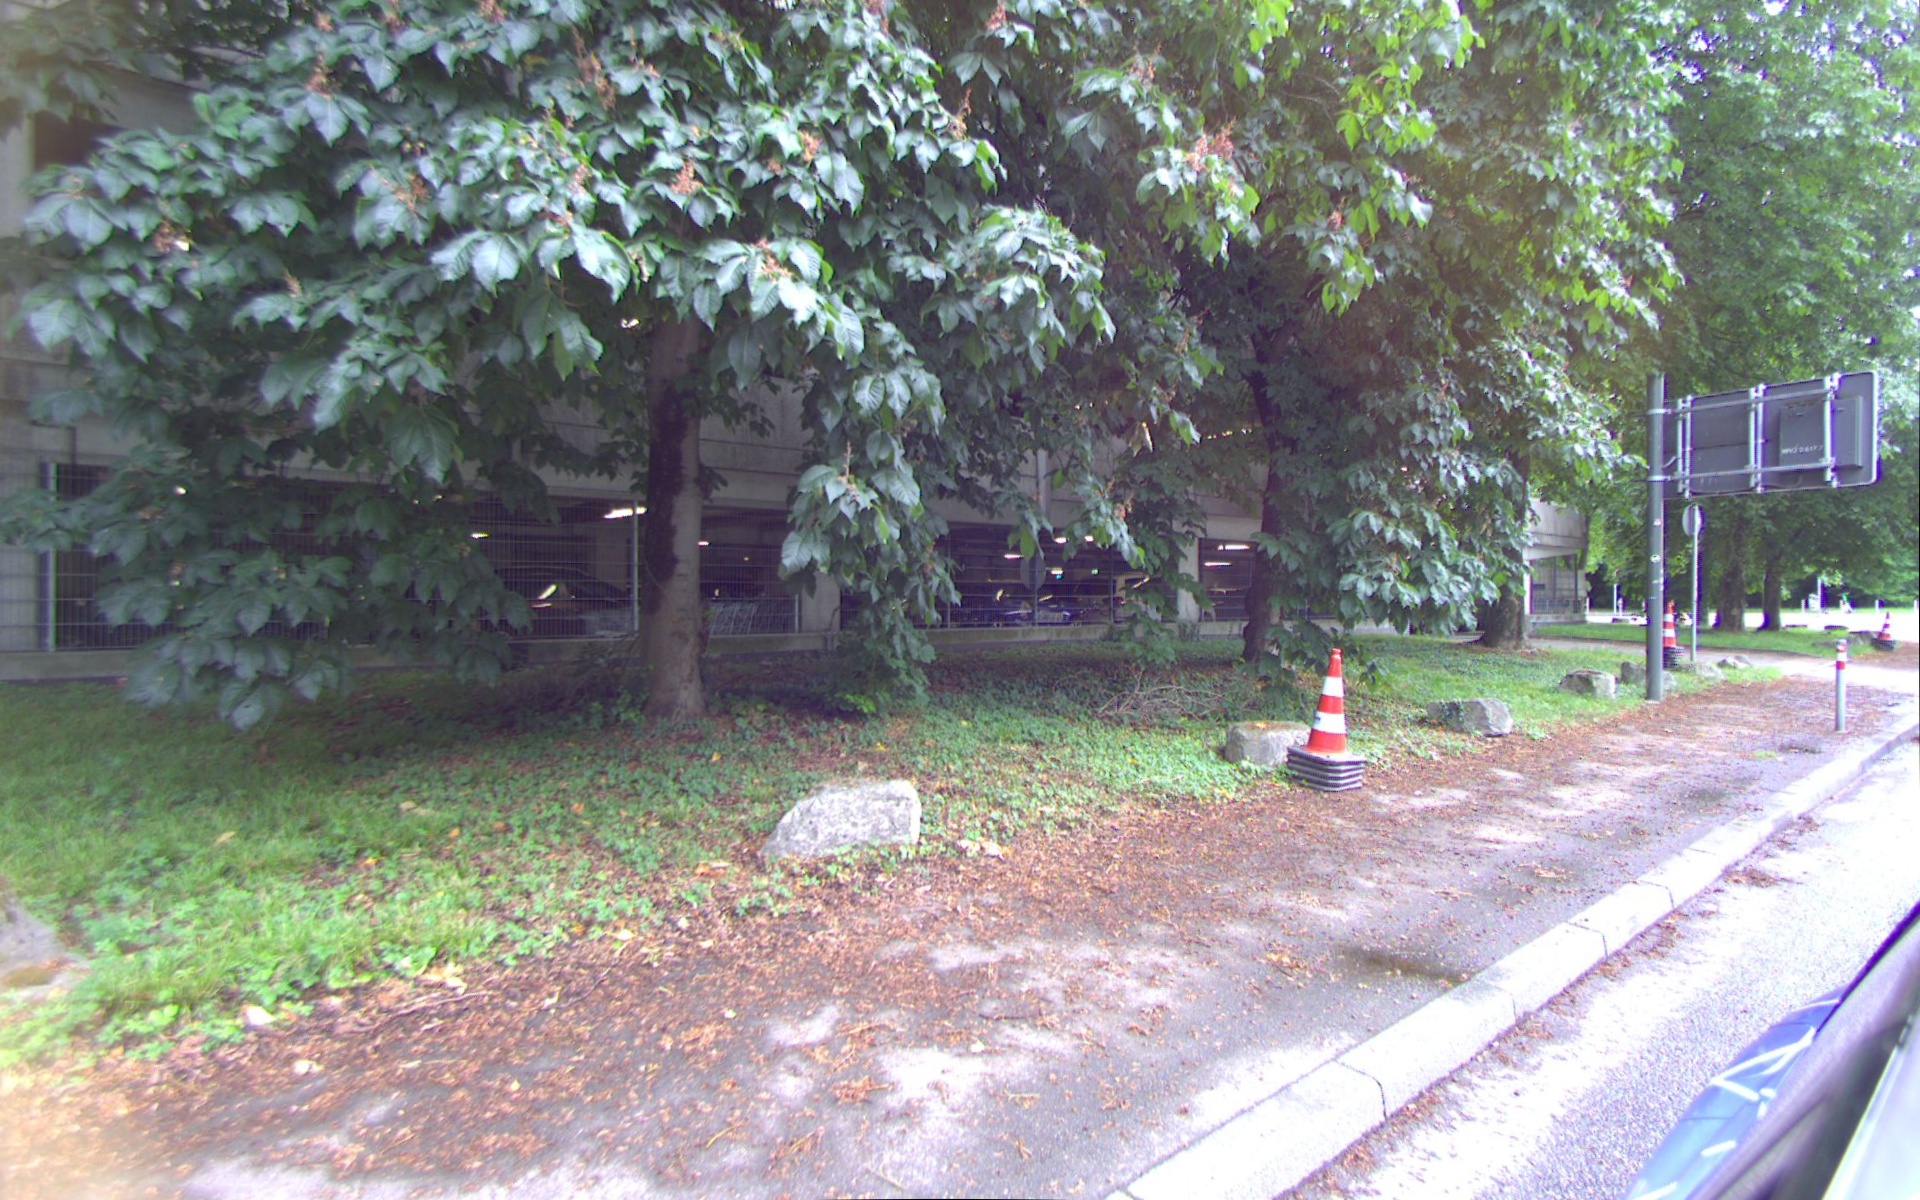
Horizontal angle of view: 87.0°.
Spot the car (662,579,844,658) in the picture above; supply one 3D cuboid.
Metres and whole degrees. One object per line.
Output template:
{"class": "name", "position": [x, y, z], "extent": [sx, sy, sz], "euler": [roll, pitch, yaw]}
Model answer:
{"class": "car", "position": [-4.590, 0.367, 22.705], "extent": [3.639, 1.565, 1.718], "euler": [-2, 1, -42]}

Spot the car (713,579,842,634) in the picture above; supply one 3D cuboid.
{"class": "car", "position": [-5.718, 0.182, 31.865], "extent": [3.638, 1.565, 1.719], "euler": [-2, 0, -41]}

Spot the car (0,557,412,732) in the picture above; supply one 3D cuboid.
{"class": "car", "position": [-10.333, 0.475, 13.901], "extent": [4.594, 2.039, 1.996], "euler": [-2, 0, -41]}

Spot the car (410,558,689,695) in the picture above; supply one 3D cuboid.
{"class": "car", "position": [-6.873, 0.348, 17.087], "extent": [3.929, 2.039, 1.997], "euler": [-2, 0, -40]}

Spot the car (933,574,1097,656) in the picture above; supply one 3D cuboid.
{"class": "car", "position": [1.351, 0.300, 23.812], "extent": [3.791, 1.730, 1.588], "euler": [-2, 0, -41]}

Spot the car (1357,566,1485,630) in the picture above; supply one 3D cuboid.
{"class": "car", "position": [14.542, -0.073, 31.813], "extent": [4.653, 1.858, 1.922], "euler": [-1, 0, -41]}

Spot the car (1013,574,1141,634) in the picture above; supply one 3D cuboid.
{"class": "car", "position": [3.447, 0.090, 29.420], "extent": [3.629, 1.606, 1.718], "euler": [-2, 1, -42]}

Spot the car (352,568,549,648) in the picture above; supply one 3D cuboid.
{"class": "car", "position": [-11.446, 0.141, 22.851], "extent": [3.639, 1.627, 1.718], "euler": [-2, 1, -42]}

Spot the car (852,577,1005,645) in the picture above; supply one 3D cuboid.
{"class": "car", "position": [-0.763, 0.232, 25.805], "extent": [3.639, 1.565, 1.718], "euler": [-2, 1, -42]}

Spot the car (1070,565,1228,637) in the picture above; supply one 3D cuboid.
{"class": "car", "position": [5.074, -0.021, 26.825], "extent": [4.587, 1.730, 1.588], "euler": [-2, 0, -41]}

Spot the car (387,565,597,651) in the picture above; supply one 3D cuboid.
{"class": "car", "position": [-9.757, 0.112, 21.207], "extent": [3.639, 1.627, 1.718], "euler": [-2, 1, -42]}

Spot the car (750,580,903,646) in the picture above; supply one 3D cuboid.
{"class": "car", "position": [-3.451, 0.297, 26.548], "extent": [3.639, 1.565, 1.718], "euler": [-2, 1, -42]}

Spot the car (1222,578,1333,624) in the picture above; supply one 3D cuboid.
{"class": "car", "position": [11.360, 0.018, 36.151], "extent": [3.927, 1.471, 1.876], "euler": [-2, 1, -38]}
